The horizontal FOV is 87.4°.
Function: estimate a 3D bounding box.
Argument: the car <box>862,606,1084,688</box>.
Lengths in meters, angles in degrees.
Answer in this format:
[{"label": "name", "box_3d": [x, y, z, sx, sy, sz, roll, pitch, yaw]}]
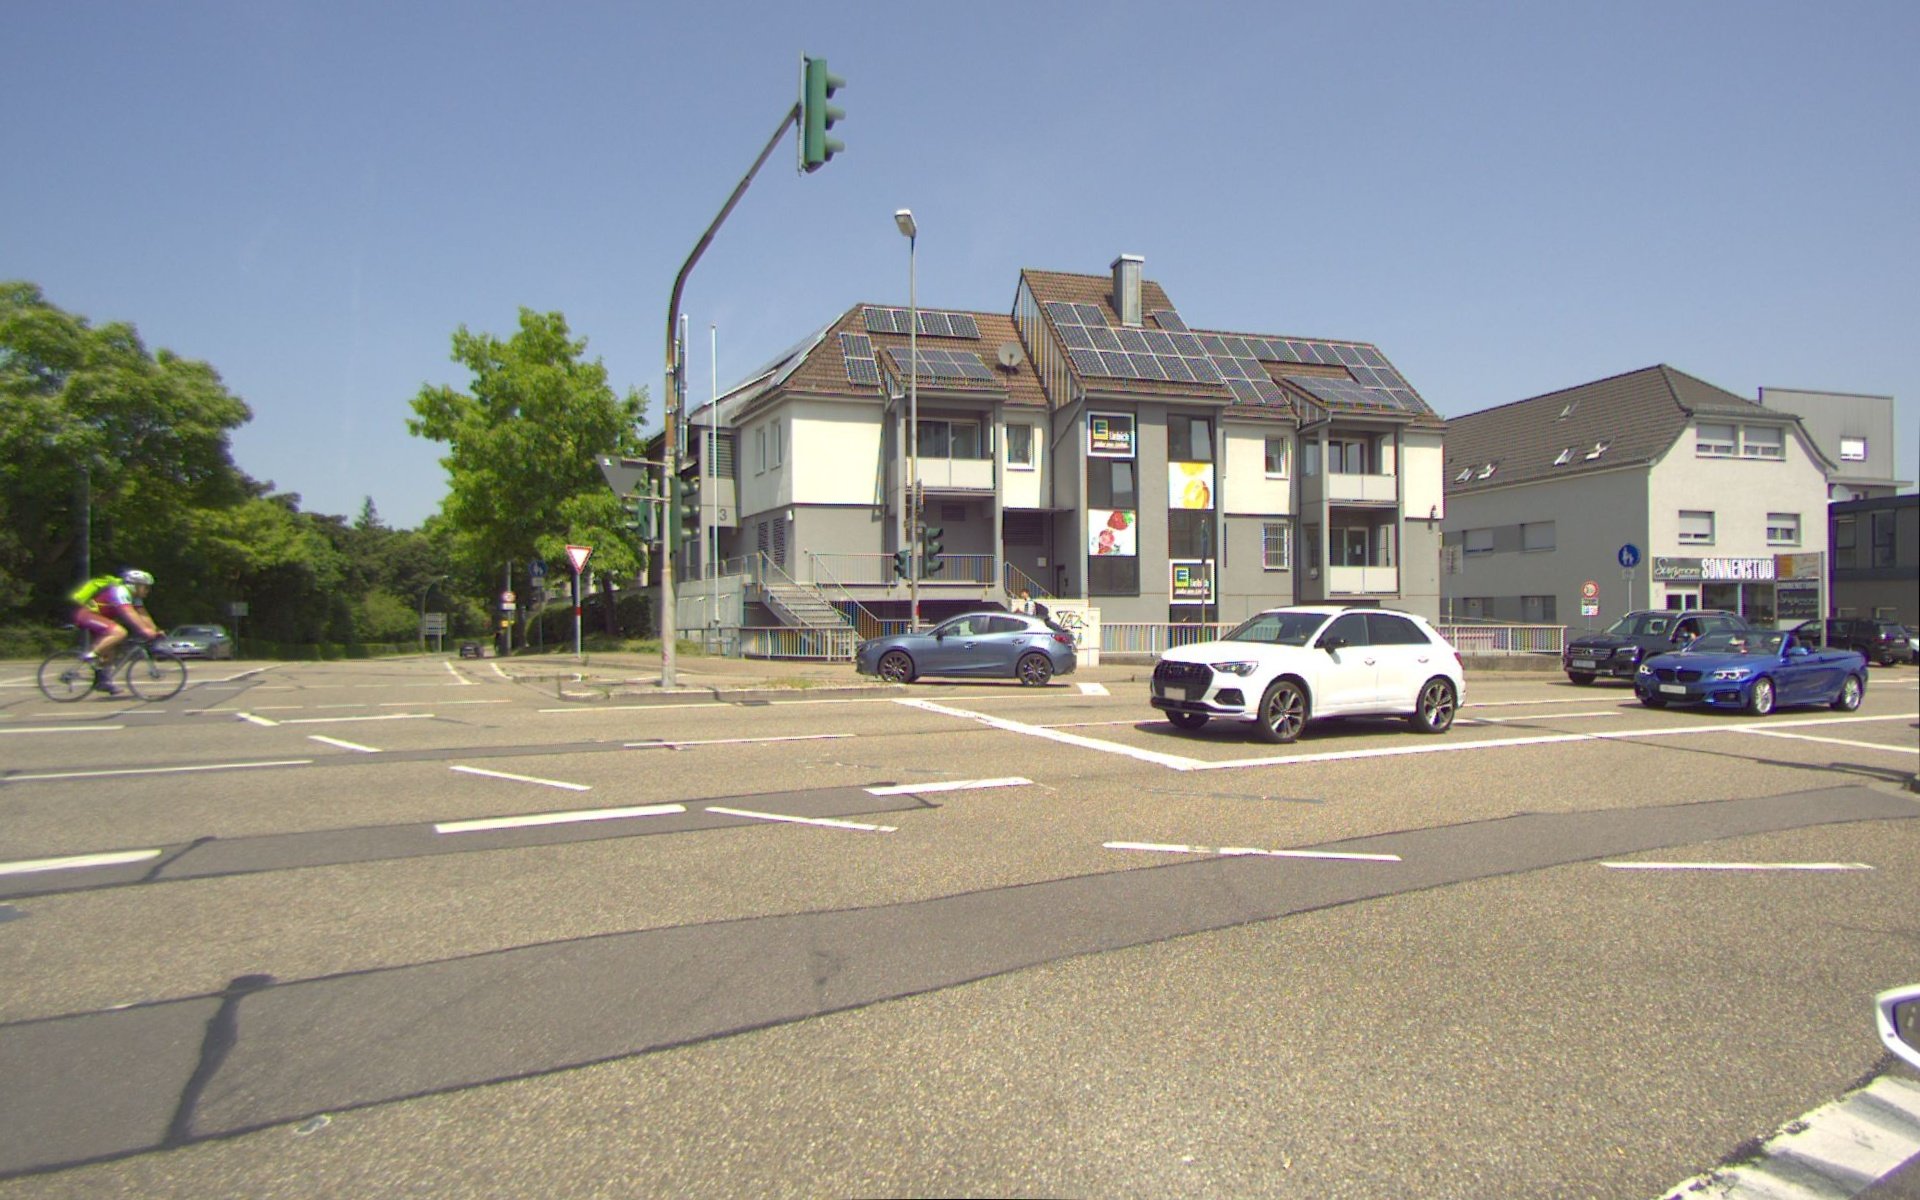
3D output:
[{"label": "car", "box_3d": [0.294, 0.930, 19.697, 4.185, 1.468, 1.497, 1, -3, 5]}]

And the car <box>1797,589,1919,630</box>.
[{"label": "car", "box_3d": [37.213, 0.432, 41.149, 1.969, 1.541, 4.053, 1, -2, -19]}]

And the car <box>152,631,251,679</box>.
[{"label": "car", "box_3d": [-30.065, 2.140, 39.975, 1.735, 1.631, 4.742, 2, 0, -19]}]

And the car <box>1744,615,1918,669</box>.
[{"label": "car", "box_3d": [32.358, 1.499, 37.499, 1.824, 1.649, 4.603, 1, 2, -16]}]

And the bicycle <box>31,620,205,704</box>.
[{"label": "bicycle", "box_3d": [-11.378, 0.823, 13.646, 1.774, 1.068, 0.417, 1, 0, -39]}]

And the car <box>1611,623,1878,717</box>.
[{"label": "car", "box_3d": [13.333, 1.136, 17.049, 4.288, 1.384, 1.857, 2, 0, -26]}]

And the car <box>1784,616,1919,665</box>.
[{"label": "car", "box_3d": [35.038, 1.504, 38.824, 1.728, 1.517, 4.592, 0, 3, -24]}]

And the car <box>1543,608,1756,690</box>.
[{"label": "car", "box_3d": [15.387, 1.038, 22.406, 4.533, 1.678, 1.987, 1, -1, -27]}]

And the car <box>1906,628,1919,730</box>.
[{"label": "car", "box_3d": [16.057, 1.168, 14.593, 4.682, 1.450, 1.857, 1, 0, -26]}]

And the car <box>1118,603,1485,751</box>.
[{"label": "car", "box_3d": [4.371, 0.857, 12.743, 4.497, 1.591, 1.810, 1, 0, -27]}]

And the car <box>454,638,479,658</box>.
[{"label": "car", "box_3d": [-49.693, 4.822, 101.236, 1.972, 1.927, 3.978, 1, -1, -23]}]

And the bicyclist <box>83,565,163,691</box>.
[{"label": "bicyclist", "box_3d": [-11.360, 0.375, 13.656, 0.814, 1.664, 0.417, 1, 1, -39]}]

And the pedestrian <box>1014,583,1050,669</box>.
[{"label": "pedestrian", "box_3d": [1.730, 0.609, 24.130, 0.735, 2.041, 0.499, -1, 1, -33]}]
